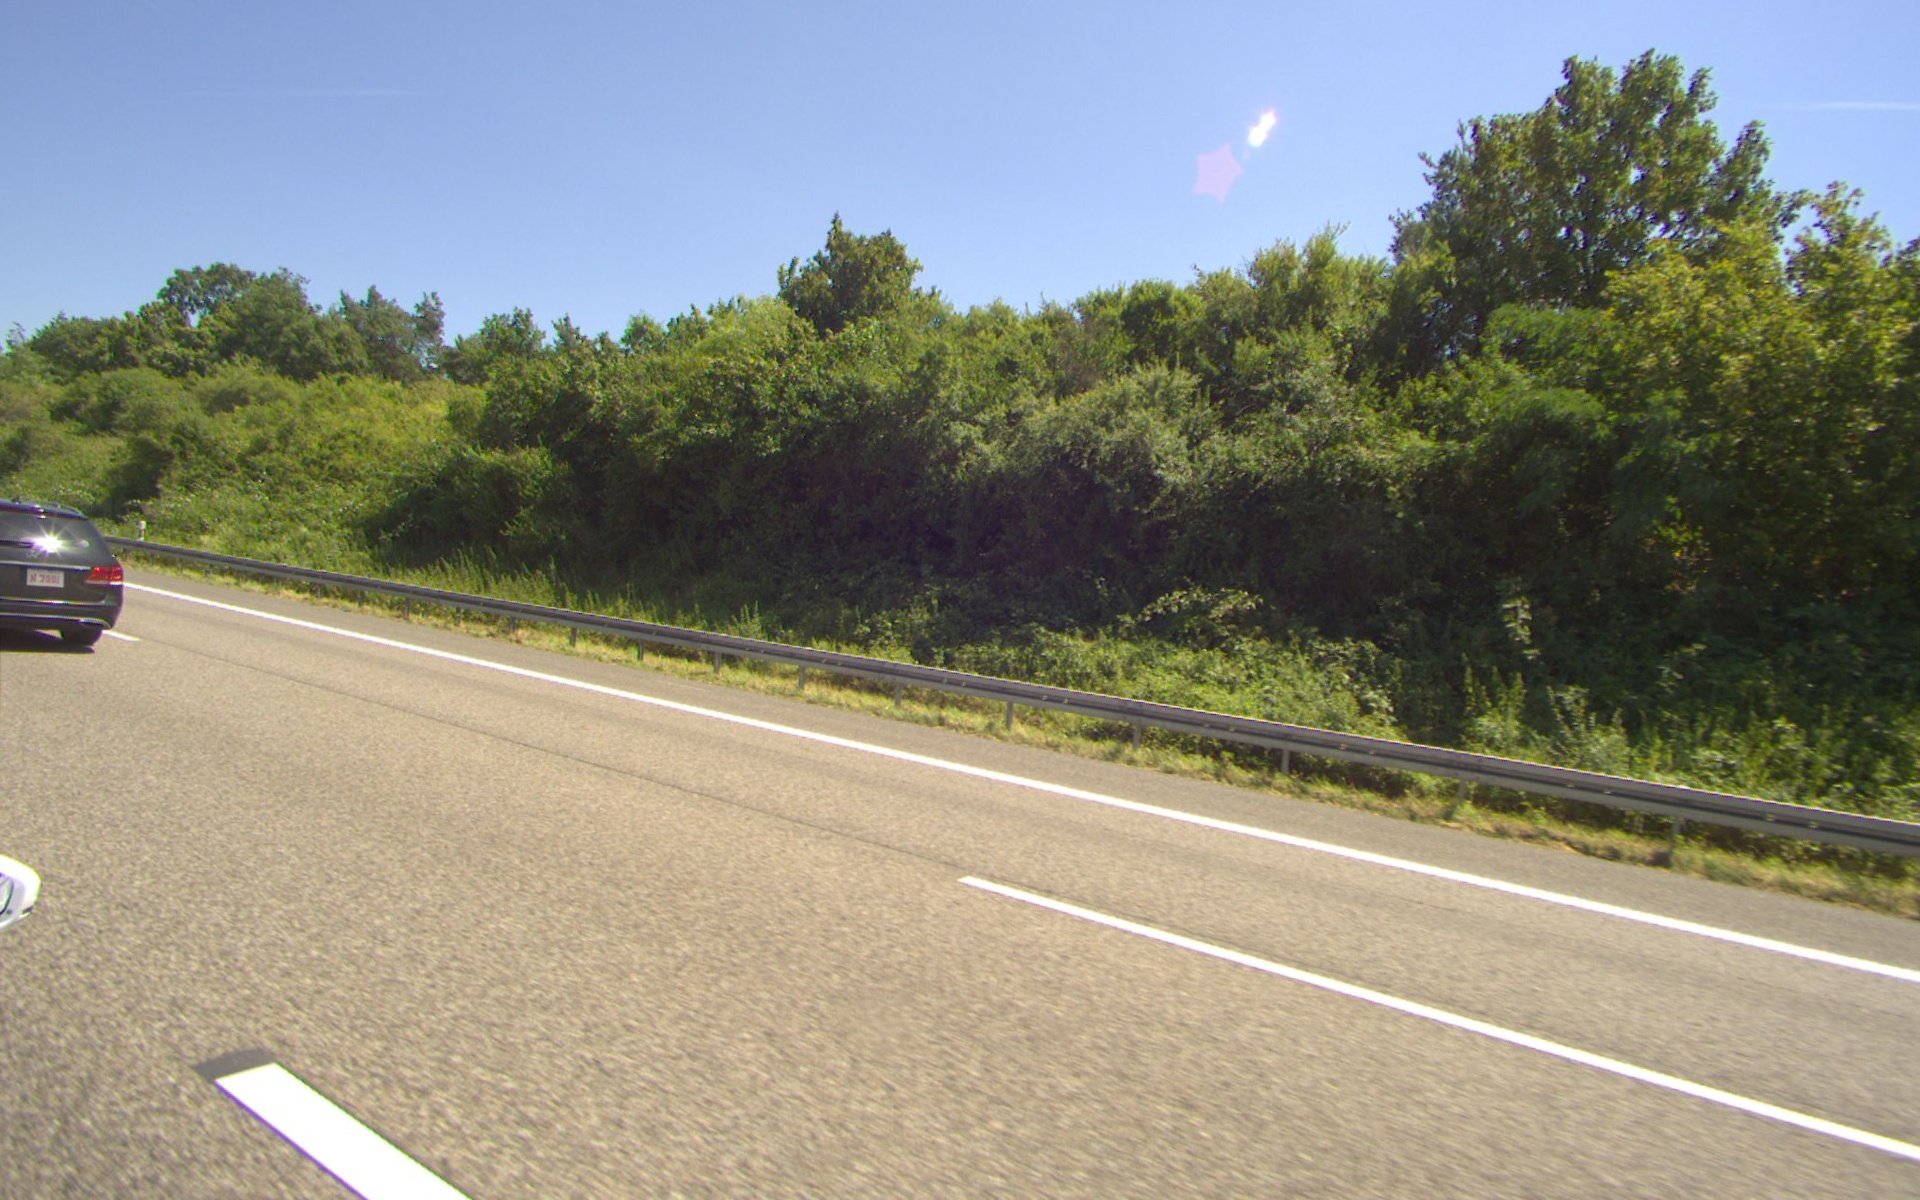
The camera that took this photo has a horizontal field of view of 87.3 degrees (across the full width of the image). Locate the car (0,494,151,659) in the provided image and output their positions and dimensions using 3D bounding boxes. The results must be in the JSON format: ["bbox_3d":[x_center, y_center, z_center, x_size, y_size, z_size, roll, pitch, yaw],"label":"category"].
[{"bbox_3d":[-11.002,-0.455,10.984,4.659,1.523,1.844,7,-1,32],"label":"car"}]
